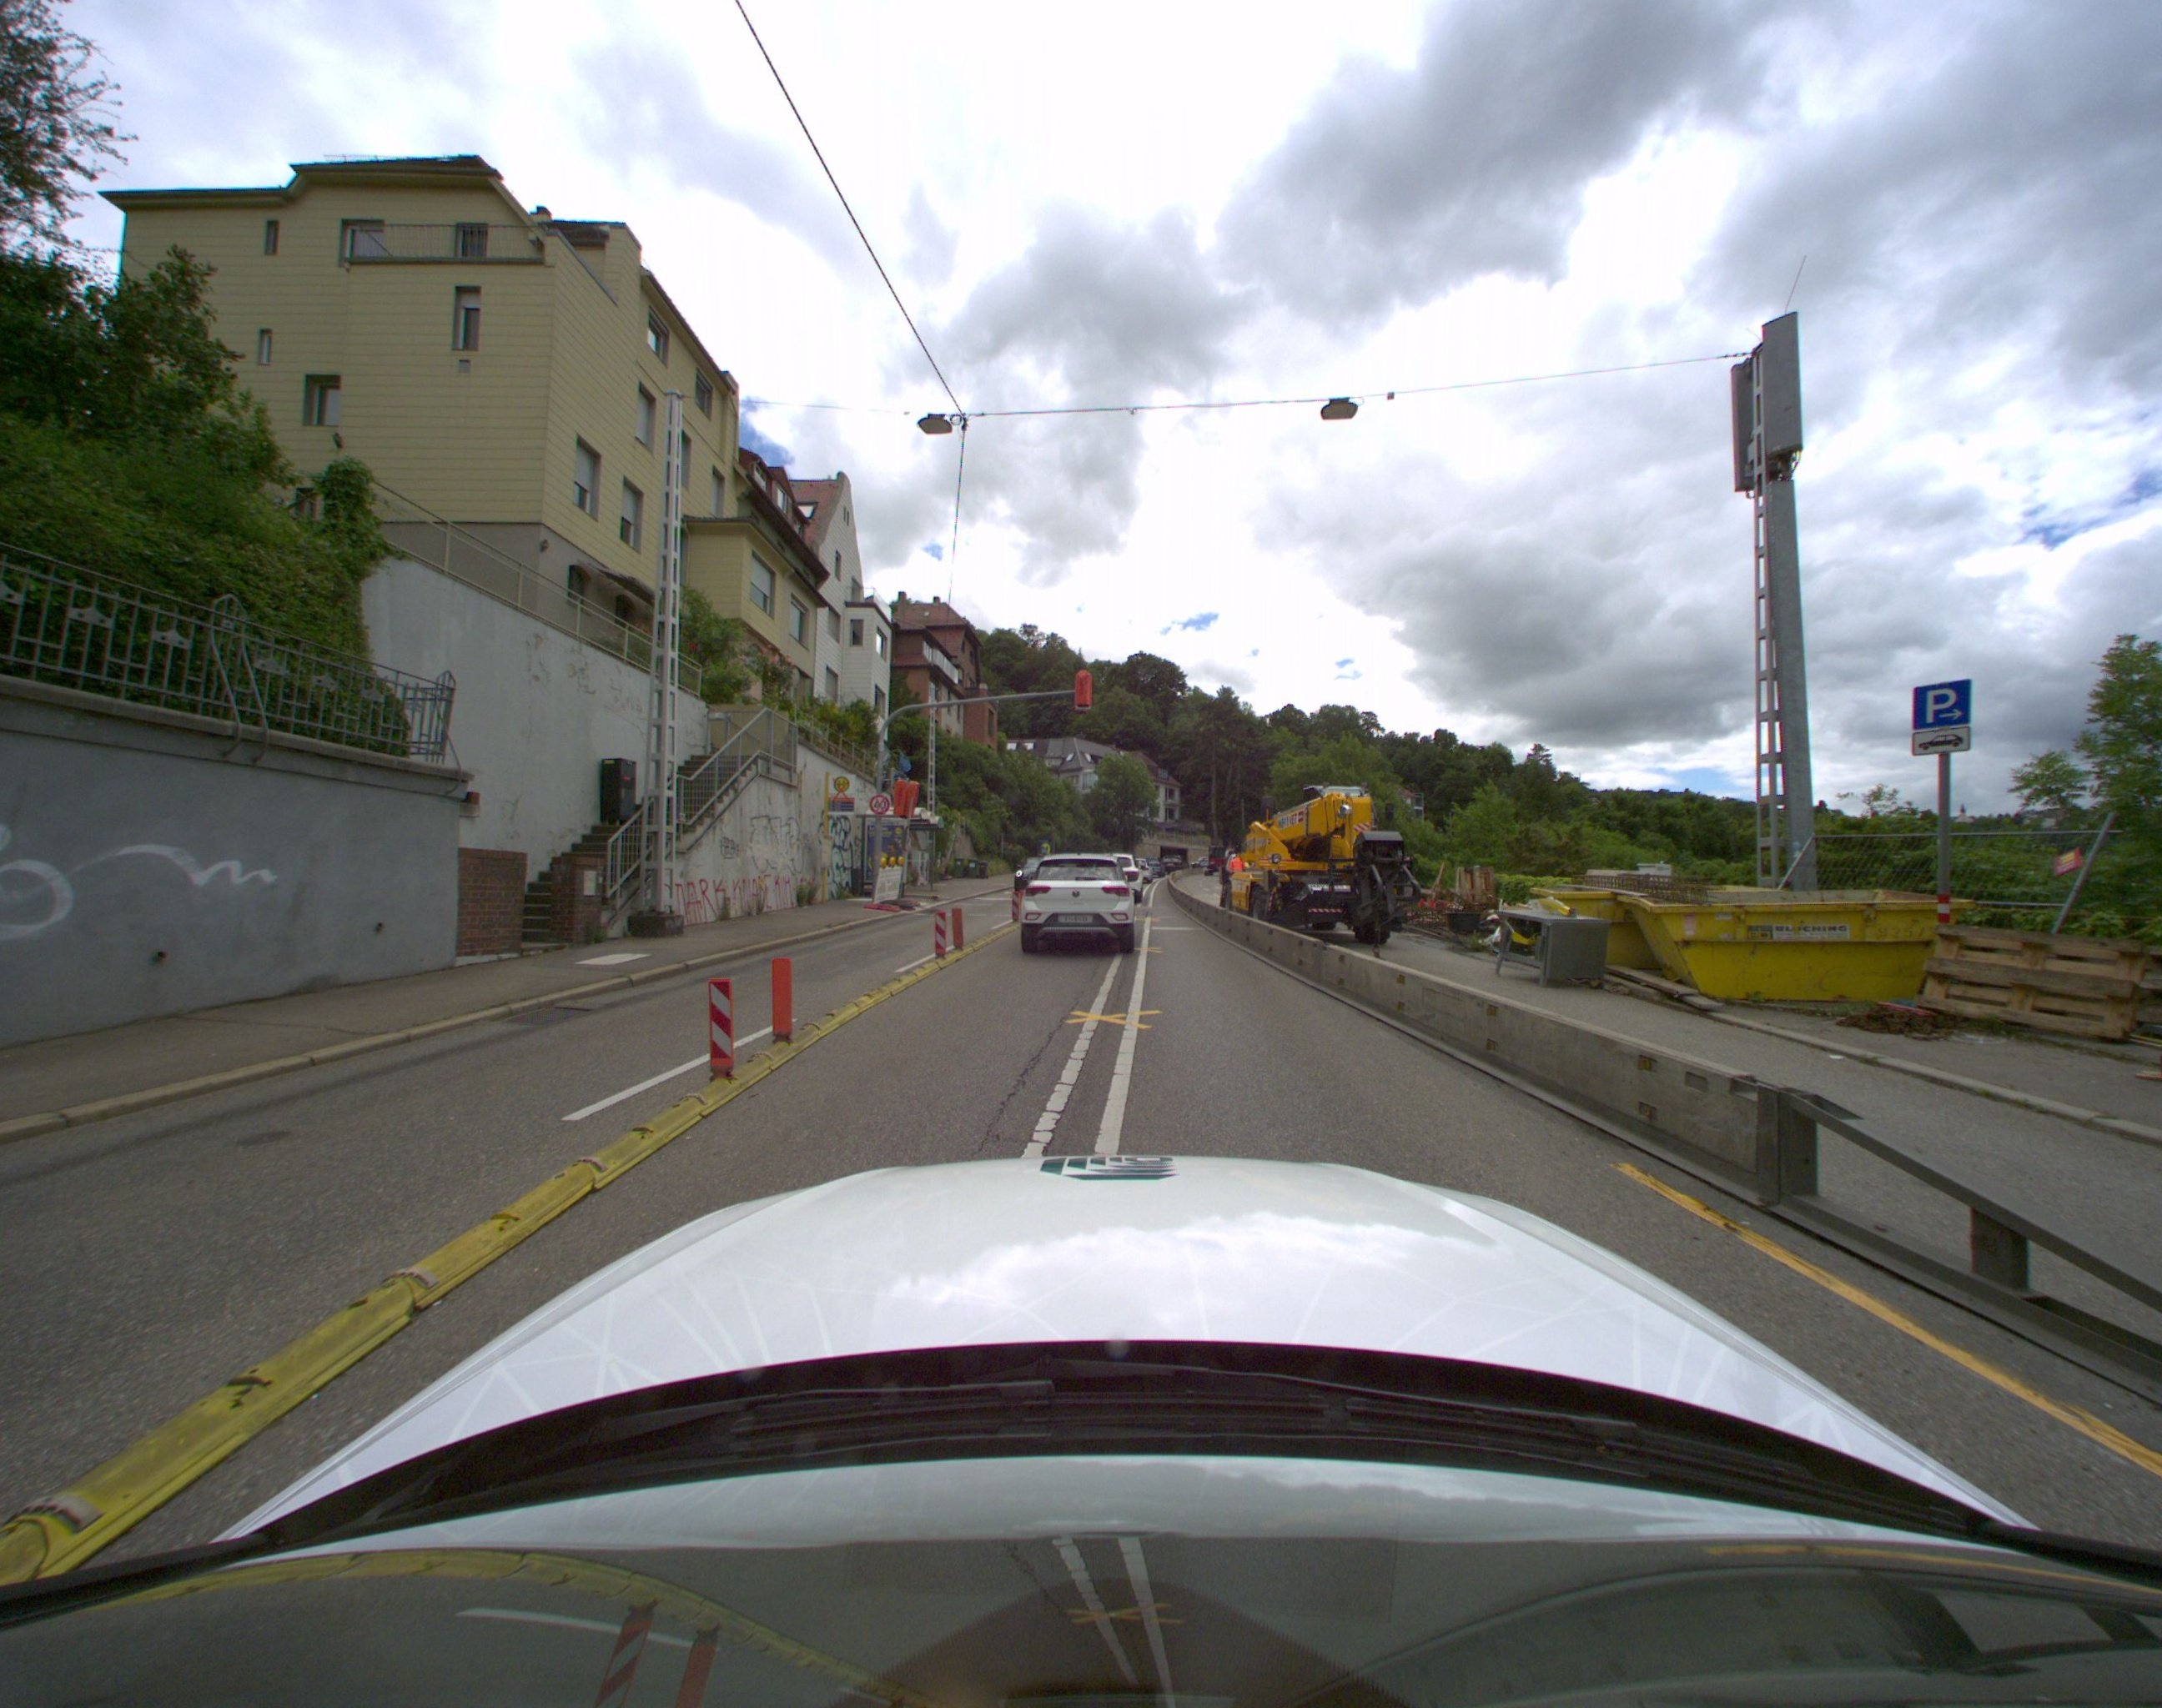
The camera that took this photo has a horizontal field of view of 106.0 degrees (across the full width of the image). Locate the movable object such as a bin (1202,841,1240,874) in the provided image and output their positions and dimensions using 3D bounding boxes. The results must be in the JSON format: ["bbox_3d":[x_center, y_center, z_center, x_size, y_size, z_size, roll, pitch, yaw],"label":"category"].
[{"bbox_3d":[11.874,0.314,68.889,2.193,2.663,4.970,1,0,21],"label":"movable object such as a bin"}]

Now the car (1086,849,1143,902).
[{"bbox_3d":[1.191,0.698,27.923,1.802,1.663,4.004,-1,0,4],"label":"car"}]

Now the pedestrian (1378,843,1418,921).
[{"bbox_3d":[7.417,0.634,19.054,0.688,1.795,0.538,0,0,-8],"label":"pedestrian"}]

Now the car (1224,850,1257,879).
[{"bbox_3d":[10.120,0.653,51.899,1.822,1.779,4.278,0,0,9],"label":"car"}]

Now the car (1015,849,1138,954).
[{"bbox_3d":[0.005,0.711,13.980,1.803,1.531,4.002,0,0,2],"label":"car"}]

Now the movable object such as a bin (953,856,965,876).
[{"bbox_3d":[-6.476,0.626,43.092,0.466,1.053,0.625,2,0,4],"label":"movable object such as a bin"}]

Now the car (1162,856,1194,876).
[{"bbox_3d":[8.592,1.067,71.797,1.794,1.663,4.021,-1,0,21],"label":"car"}]

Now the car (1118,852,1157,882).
[{"bbox_3d":[3.347,0.751,47.759,1.798,1.663,4.011,-1,0,10],"label":"car"}]

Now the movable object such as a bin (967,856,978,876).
[{"bbox_3d":[-5.728,0.641,43.019,0.466,1.053,0.625,2,0,4],"label":"movable object such as a bin"}]

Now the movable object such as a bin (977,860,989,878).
[{"bbox_3d":[-5.161,0.770,42.950,0.466,0.934,0.625,2,0,4],"label":"movable object such as a bin"}]

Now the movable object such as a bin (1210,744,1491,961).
[{"bbox_3d":[4.481,-0.016,15.572,2.802,3.071,7.822,1,0,0],"label":"movable object such as a bin"}]

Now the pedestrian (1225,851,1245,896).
[{"bbox_3d":[6.019,0.759,31.932,0.642,1.701,0.851,1,0,4],"label":"pedestrian"}]

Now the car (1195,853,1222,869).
[{"bbox_3d":[13.449,0.731,85.701,1.793,1.663,4.023,-1,0,24],"label":"car"}]

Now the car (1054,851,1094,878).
[{"bbox_3d":[-0.360,0.609,49.453,1.831,1.599,4.273,0,0,8],"label":"car"}]

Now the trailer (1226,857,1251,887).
[{"bbox_3d":[8.473,0.936,43.887,1.280,1.475,3.644,1,0,11],"label":"trailer"}]

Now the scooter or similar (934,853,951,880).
[{"bbox_3d":[-6.446,0.579,37.832,0.458,1.205,1.436,2,0,2],"label":"scooter or similar"}]

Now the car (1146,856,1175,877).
[{"bbox_3d":[5.934,0.906,60.675,1.783,1.510,4.011,-1,0,10],"label":"car"}]

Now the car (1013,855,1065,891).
[{"bbox_3d":[-1.700,0.756,34.110,1.664,1.430,3.592,0,0,5],"label":"car"}]

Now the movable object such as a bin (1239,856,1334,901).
[{"bbox_3d":[8.112,0.901,32.997,2.364,1.561,7.103,1,0,3],"label":"movable object such as a bin"}]
